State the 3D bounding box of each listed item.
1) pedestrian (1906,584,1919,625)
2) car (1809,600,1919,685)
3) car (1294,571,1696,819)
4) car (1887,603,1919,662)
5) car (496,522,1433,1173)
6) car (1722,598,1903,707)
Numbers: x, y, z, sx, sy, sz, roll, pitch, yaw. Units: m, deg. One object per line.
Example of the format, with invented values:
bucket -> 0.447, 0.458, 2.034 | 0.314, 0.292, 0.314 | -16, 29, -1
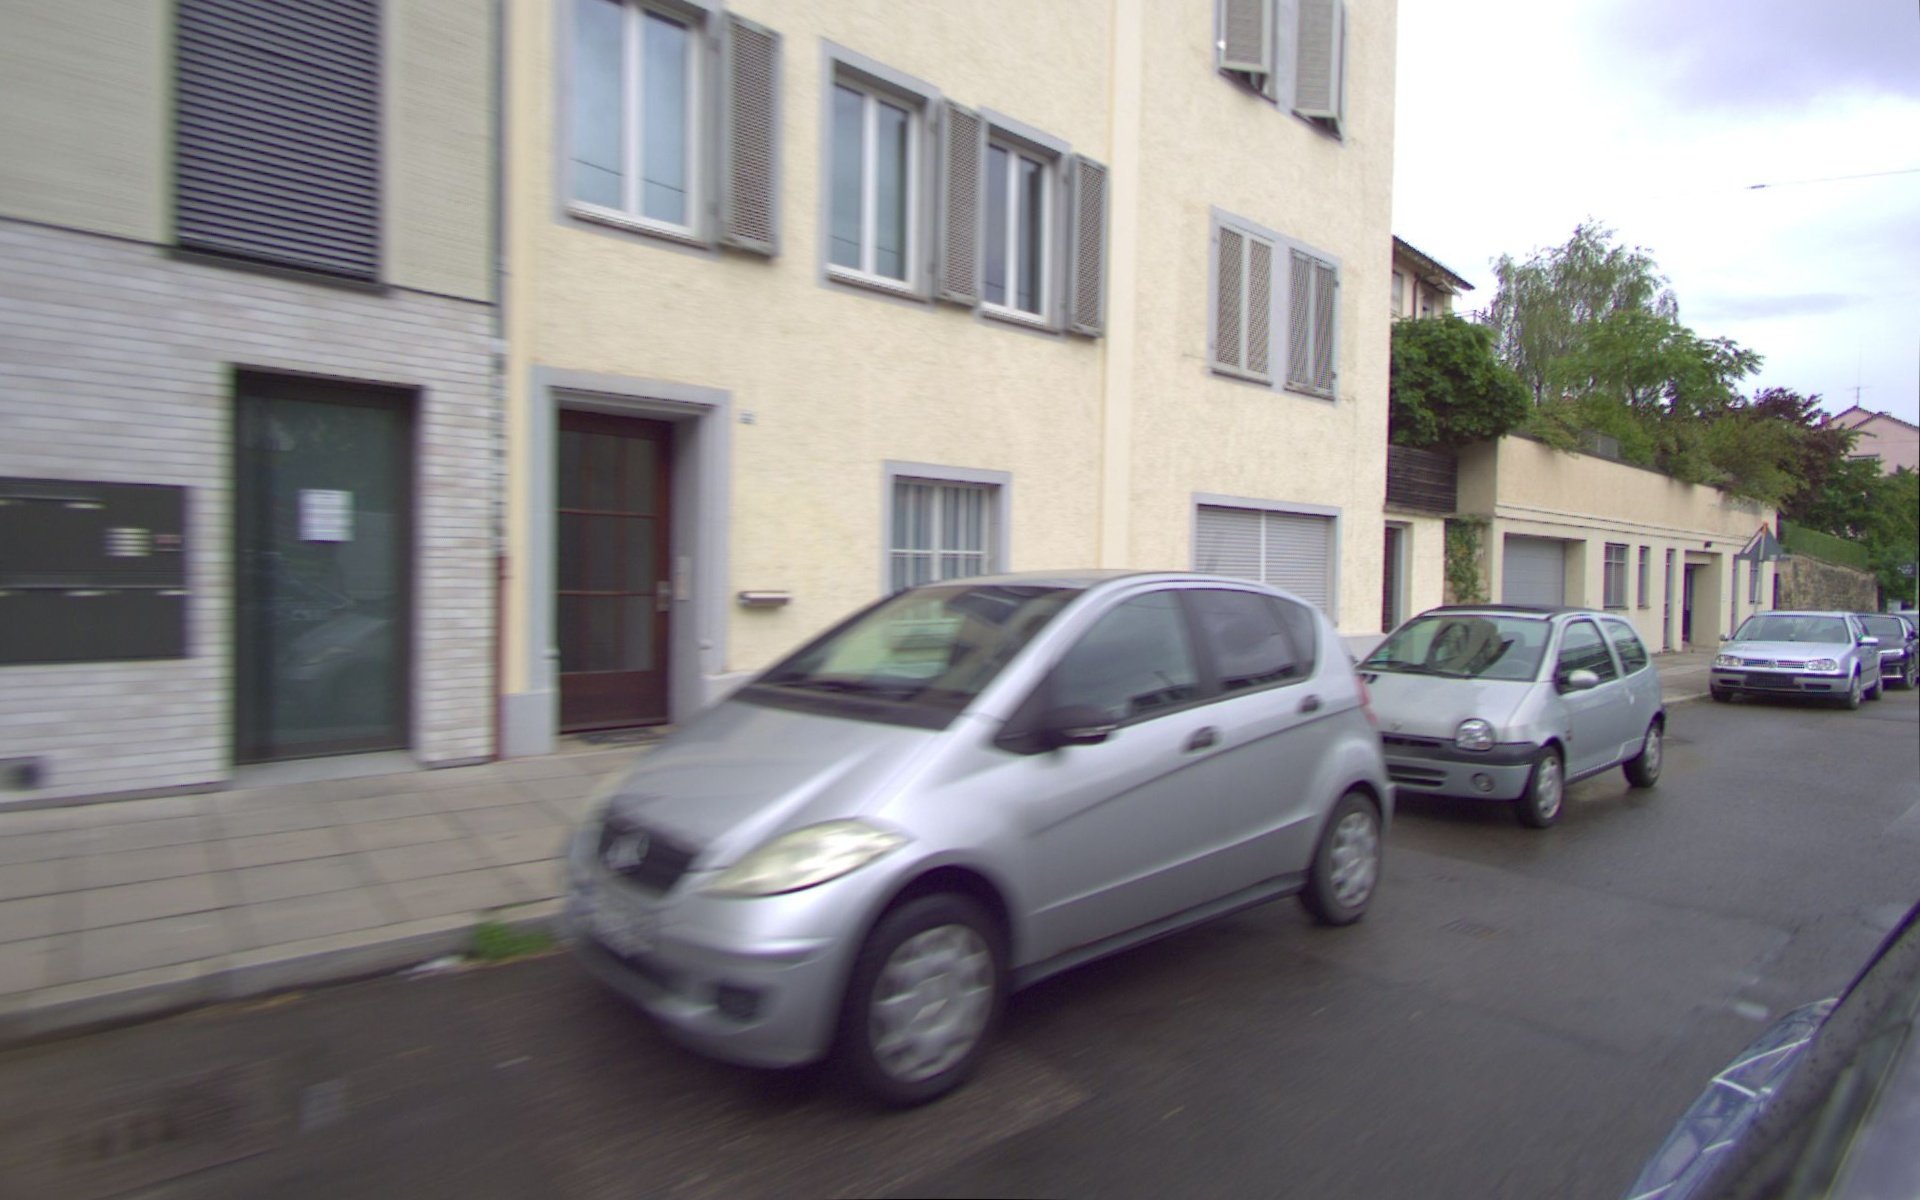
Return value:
pedestrian -> 41.296, 0.209, 43.511 | 0.889, 1.736, 0.725 | 1, 2, -40
car -> 17.820, 0.757, 19.554 | 3.694, 1.472, 1.632 | 0, 0, -41
car -> 4.269, 0.566, 7.838 | 3.694, 1.472, 1.561 | 0, 0, -41
car -> 25.965, 0.836, 26.783 | 4.161, 1.472, 1.691 | 0, 0, -41
car -> 0.333, 0.590, 4.375 | 3.931, 1.544, 1.718 | 0, 0, -42
car -> 13.258, 0.723, 15.678 | 3.694, 1.472, 1.632 | 0, 0, -41
